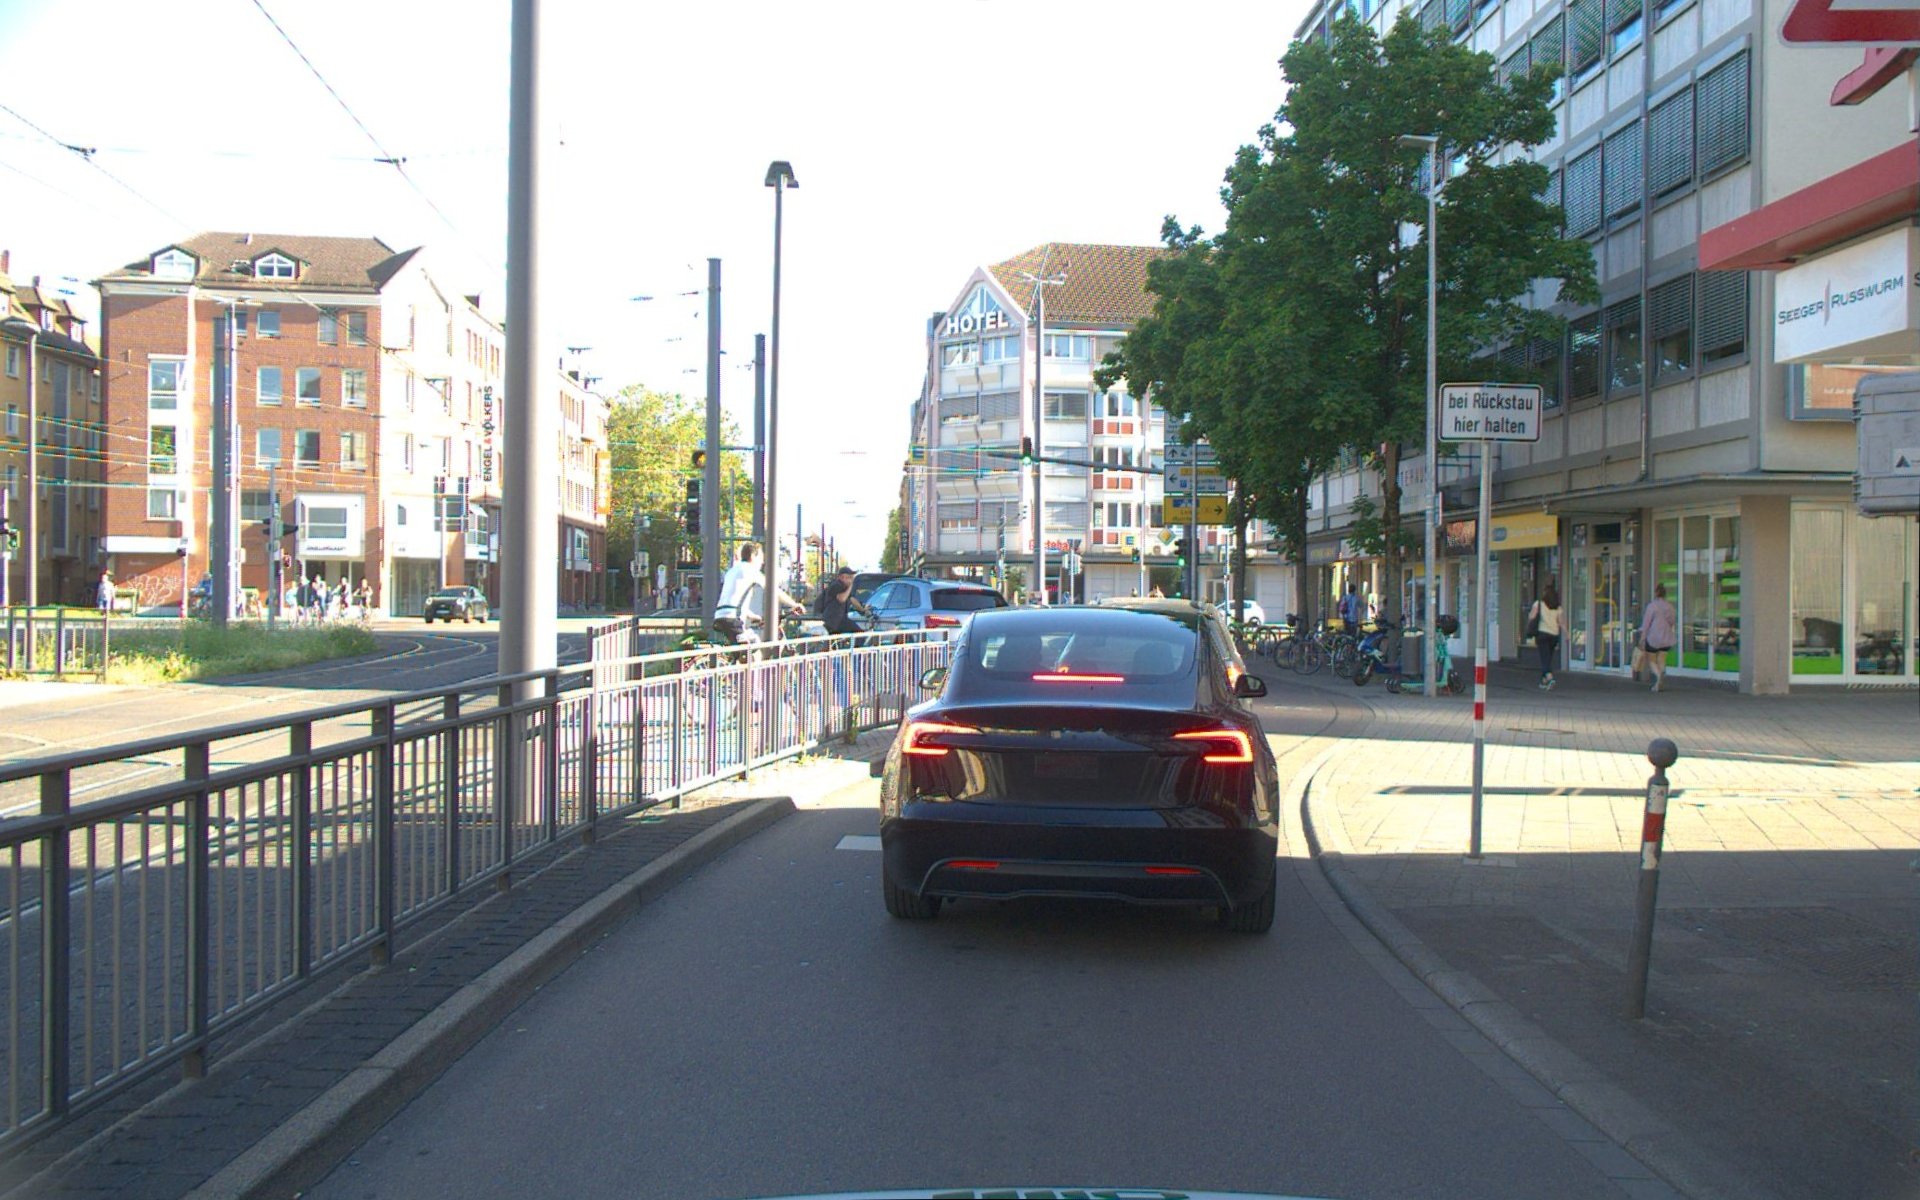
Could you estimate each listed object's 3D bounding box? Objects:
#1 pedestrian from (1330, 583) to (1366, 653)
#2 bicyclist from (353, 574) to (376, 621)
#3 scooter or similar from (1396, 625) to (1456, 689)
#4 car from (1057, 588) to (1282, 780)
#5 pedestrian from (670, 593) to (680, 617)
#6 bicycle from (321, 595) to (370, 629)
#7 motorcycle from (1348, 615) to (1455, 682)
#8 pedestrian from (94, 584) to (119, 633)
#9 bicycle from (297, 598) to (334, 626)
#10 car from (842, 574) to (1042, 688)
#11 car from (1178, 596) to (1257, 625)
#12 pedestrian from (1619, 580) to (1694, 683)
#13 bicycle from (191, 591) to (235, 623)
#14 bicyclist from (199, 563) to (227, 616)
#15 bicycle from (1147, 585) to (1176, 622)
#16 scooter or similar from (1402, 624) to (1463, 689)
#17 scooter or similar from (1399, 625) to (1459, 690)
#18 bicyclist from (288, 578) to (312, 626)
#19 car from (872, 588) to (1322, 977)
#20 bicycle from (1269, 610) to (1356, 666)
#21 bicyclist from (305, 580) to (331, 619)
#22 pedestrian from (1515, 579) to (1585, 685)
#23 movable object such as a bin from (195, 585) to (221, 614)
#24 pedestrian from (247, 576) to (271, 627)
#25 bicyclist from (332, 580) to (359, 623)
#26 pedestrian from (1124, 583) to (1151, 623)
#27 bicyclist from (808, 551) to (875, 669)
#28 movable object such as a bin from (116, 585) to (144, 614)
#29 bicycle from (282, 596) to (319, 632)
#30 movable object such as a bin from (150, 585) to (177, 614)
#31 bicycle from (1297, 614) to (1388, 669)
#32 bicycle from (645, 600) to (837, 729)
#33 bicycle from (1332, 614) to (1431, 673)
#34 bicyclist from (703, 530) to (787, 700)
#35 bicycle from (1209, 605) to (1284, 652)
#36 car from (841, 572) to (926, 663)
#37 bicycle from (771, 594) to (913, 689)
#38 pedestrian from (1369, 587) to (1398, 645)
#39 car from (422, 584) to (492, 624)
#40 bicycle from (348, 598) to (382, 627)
[{"bbox_3d":[9.814,0.449,41.832,0.825,1.751,0.881,1,-1,10],"label":"pedestrian"},{"bbox_3d":[-21.670,-0.089,60.217,0.514,1.702,0.770,1,-1,1],"label":"bicyclist"},{"bbox_3d":[7.720,0.948,27.413,0.943,1.045,0.160,0,0,2],"label":"scooter or similar"},{"bbox_3d":[1.790,0.636,15.211,1.727,1.469,4.531,1,0,4],"label":"car"},{"bbox_3d":[-18.767,0.309,108.833,0.574,1.557,0.634,1,-1,-18],"label":"pedestrian"},{"bbox_3d":[-24.290,0.476,65.371,0.562,1.313,2.026,1,0,22],"label":"bicycle"},{"bbox_3d":[7.817,0.859,29.276,1.751,1.149,0.504,1,-1,-3],"label":"motorcycle"},{"bbox_3d":[-30.572,0.284,59.252,0.613,1.717,0.703,1,1,-13],"label":"pedestrian"},{"bbox_3d":[-24.415,0.445,62.678,0.636,1.031,1.885,1,0,1],"label":"bicycle"},{"bbox_3d":[-0.351,0.460,26.234,1.818,1.663,3.455,1,0,-27],"label":"car"},{"bbox_3d":[13.491,0.560,86.607,3.766,1.457,1.801,1,-2,-6],"label":"car"},{"bbox_3d":[11.282,0.510,26.815,0.826,1.630,0.880,1,-1,-1],"label":"pedestrian"},{"bbox_3d":[-24.380,0.219,53.989,0.519,1.031,1.885,1,0,1],"label":"bicycle"},{"bbox_3d":[-24.371,-0.335,53.967,0.510,1.702,0.770,1,-1,0],"label":"bicyclist"},{"bbox_3d":[8.202,0.149,67.523,0.573,1.489,1.679,0,0,-16],"label":"bicycle"},{"bbox_3d":[7.710,0.924,27.014,0.943,1.061,0.160,0,0,2],"label":"scooter or similar"},{"bbox_3d":[7.715,0.937,27.213,0.936,1.057,0.160,0,0,2],"label":"scooter or similar"},{"bbox_3d":[-23.377,0.068,58.578,0.510,1.702,0.770,1,-1,0],"label":"bicyclist"},{"bbox_3d":[0.675,0.704,8.517,1.753,1.476,3.942,1,1,4],"label":"car"},{"bbox_3d":[7.553,0.810,35.482,1.774,1.172,0.435,0,0,-5],"label":"bicycle"},{"bbox_3d":[-24.430,-0.024,62.929,0.650,1.479,0.730,1,-1,0],"label":"bicyclist"},{"bbox_3d":[9.910,0.528,27.803,0.826,1.737,0.880,1,-1,-1],"label":"pedestrian"},{"bbox_3d":[-39.275,-0.016,86.397,0.978,1.462,1.093,1,0,-10],"label":"movable object such as a bin"},{"bbox_3d":[-28.469,0.079,67.175,0.582,2.049,0.830,1,-1,2],"label":"pedestrian"},{"bbox_3d":[-24.271,0.051,65.326,0.576,1.678,0.806,1,-1,24],"label":"bicyclist"},{"bbox_3d":[7.235,0.126,67.442,0.766,1.604,0.864,1,1,-16],"label":"pedestrian"},{"bbox_3d":[-1.594,0.129,22.185,0.674,1.550,0.628,1,-1,-32],"label":"bicyclist"},{"bbox_3d":[-43.029,-0.018,85.751,0.978,1.462,1.093,1,0,-10],"label":"movable object such as a bin"},{"bbox_3d":[-23.392,0.483,58.714,0.519,1.235,1.885,1,0,1],"label":"bicycle"},{"bbox_3d":[-41.515,-0.019,86.194,0.978,1.462,1.093,1,0,-10],"label":"movable object such as a bin"},{"bbox_3d":[7.728,0.829,33.449,1.730,1.075,0.458,1,-1,4],"label":"bicycle"},{"bbox_3d":[-2.169,0.631,16.458,1.796,1.233,0.578,1,-1,-25],"label":"bicycle"},{"bbox_3d":[7.999,0.814,31.398,1.817,1.074,0.398,-1,0,-12],"label":"bicycle"},{"bbox_3d":[-2.144,0.150,16.476,0.672,1.659,0.574,1,-1,-24],"label":"bicyclist"},{"bbox_3d":[7.363,0.726,42.537,1.851,1.177,0.480,-1,-1,0],"label":"bicycle"},{"bbox_3d":[-1.498,0.329,32.299,1.541,1.646,3.781,1,0,-3],"label":"car"},{"bbox_3d":[-1.575,0.551,22.193,1.802,1.233,0.635,1,-1,-32],"label":"bicycle"},{"bbox_3d":[10.733,0.409,41.917,0.631,1.447,0.621,1,-1,9],"label":"pedestrian"},{"bbox_3d":[-20.657,0.160,68.034,1.650,1.588,4.121,1,0,-1],"label":"car"},{"bbox_3d":[-21.670,0.450,60.288,0.519,1.031,1.897,1,0,1],"label":"bicycle"}]
